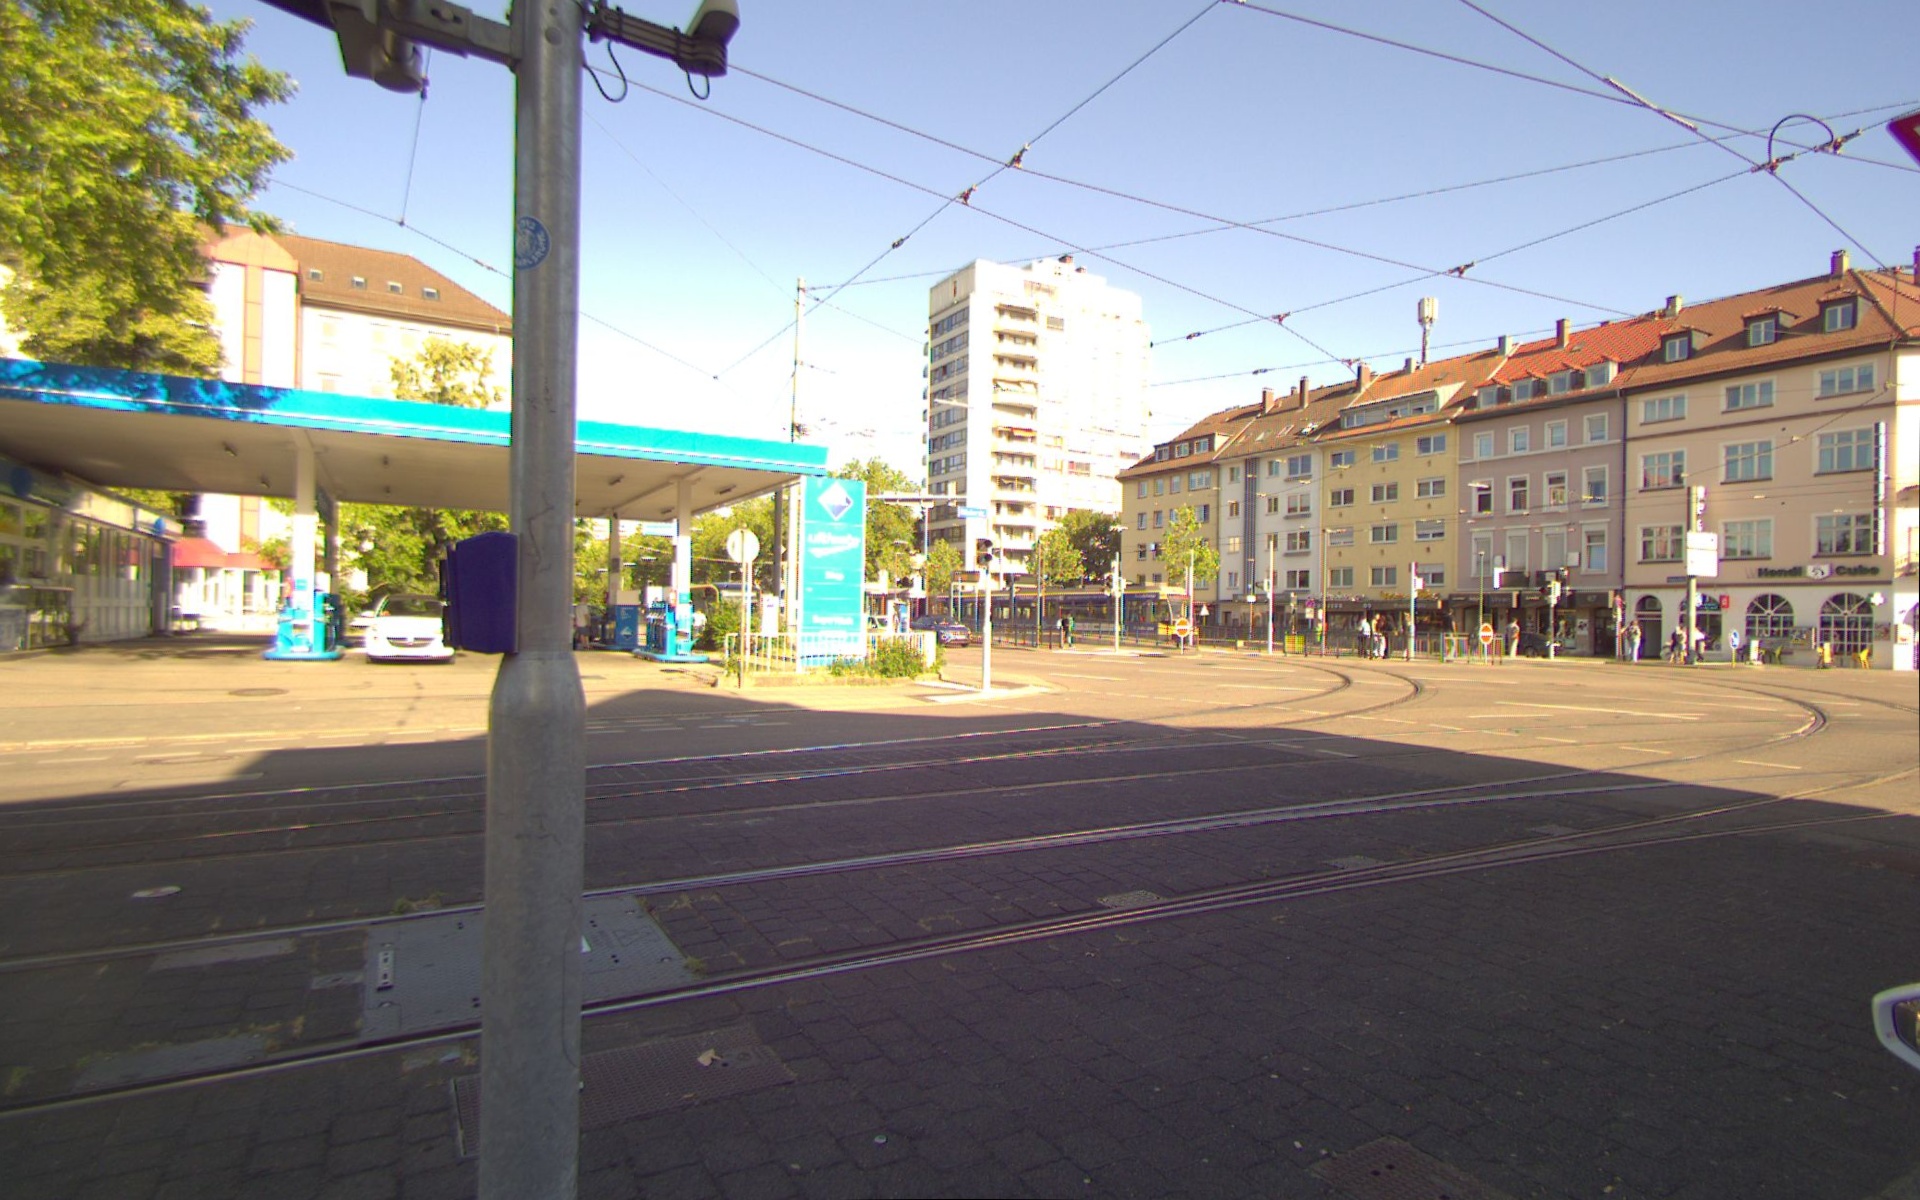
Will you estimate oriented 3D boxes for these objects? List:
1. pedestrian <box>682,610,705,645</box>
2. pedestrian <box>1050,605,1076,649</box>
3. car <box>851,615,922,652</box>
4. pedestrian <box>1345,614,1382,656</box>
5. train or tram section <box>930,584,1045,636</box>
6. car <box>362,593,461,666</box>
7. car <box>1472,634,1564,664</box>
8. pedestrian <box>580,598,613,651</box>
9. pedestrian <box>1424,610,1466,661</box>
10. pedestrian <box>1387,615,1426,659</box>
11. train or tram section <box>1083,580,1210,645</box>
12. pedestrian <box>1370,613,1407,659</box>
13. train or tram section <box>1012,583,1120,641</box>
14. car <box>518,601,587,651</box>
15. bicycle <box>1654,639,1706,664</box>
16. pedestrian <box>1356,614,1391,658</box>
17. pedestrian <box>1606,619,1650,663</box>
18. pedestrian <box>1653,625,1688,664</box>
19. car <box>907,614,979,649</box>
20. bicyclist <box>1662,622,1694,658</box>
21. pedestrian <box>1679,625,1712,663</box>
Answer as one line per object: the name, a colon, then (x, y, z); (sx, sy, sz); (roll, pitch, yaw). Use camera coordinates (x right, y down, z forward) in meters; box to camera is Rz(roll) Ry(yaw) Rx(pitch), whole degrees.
pedestrian: (-12.338, 1.287, 46.541); (0.907, 1.595, 0.959); (1, -1, -22)
pedestrian: (4.518, 1.177, 44.002); (1.084, 1.870, 1.171); (1, -1, 8)
car: (-3.470, 1.527, 46.741); (1.863, 1.601, 3.971); (1, -1, -28)
pedestrian: (15.753, 1.353, 39.255); (0.925, 1.619, 1.007); (1, -1, -13)
train or tram section: (1.814, 0.763, 74.657); (2.747, 3.546, 11.934); (1, -1, -30)
car: (-12.295, 0.636, 22.485); (1.760, 1.483, 3.968); (1, -1, -30)
car: (30.435, 2.636, 54.910); (1.977, 1.472, 3.966); (1, -1, -31)
pedestrian: (-11.692, 0.781, 32.272); (0.802, 1.647, 1.155); (1, -1, -29)
pedestrian: (17.378, 1.263, 36.013); (0.927, 1.798, 1.005); (1, -1, -20)
pedestrian: (16.614, 1.370, 37.362); (0.924, 1.619, 1.008); (1, -1, -9)
train or tram section: (10.738, 0.710, 58.766); (2.792, 3.546, 7.895); (1, -1, -31)
pedestrian: (15.594, 1.300, 36.579); (0.923, 1.619, 1.010); (1, -1, 1)
train or tram section: (6.774, 0.799, 65.828); (2.789, 3.546, 8.399); (1, -1, -28)
car: (-13.444, 0.837, 33.019); (1.725, 1.431, 4.061); (5, -2, -26)
bicycle: (36.776, 2.630, 51.329); (0.623, 1.197, 2.081); (1, -1, -29)
pedestrian: (15.557, 1.340, 37.812); (0.922, 1.619, 1.010); (1, -1, 3)
pedestrian: (26.653, 1.615, 40.072); (1.091, 1.707, 1.075); (1, -1, -30)
pedestrian: (34.078, 2.127, 48.207); (0.926, 1.798, 1.006); (1, -1, -15)
car: (-0.846, 1.491, 48.321); (1.863, 1.601, 3.971); (1, -1, -28)
bicyclist: (36.723, 2.033, 51.384); (0.740, 1.798, 1.159); (1, -1, -31)
pedestrian: (35.698, 2.119, 48.772); (0.996, 1.798, 0.936); (1, -1, -25)
